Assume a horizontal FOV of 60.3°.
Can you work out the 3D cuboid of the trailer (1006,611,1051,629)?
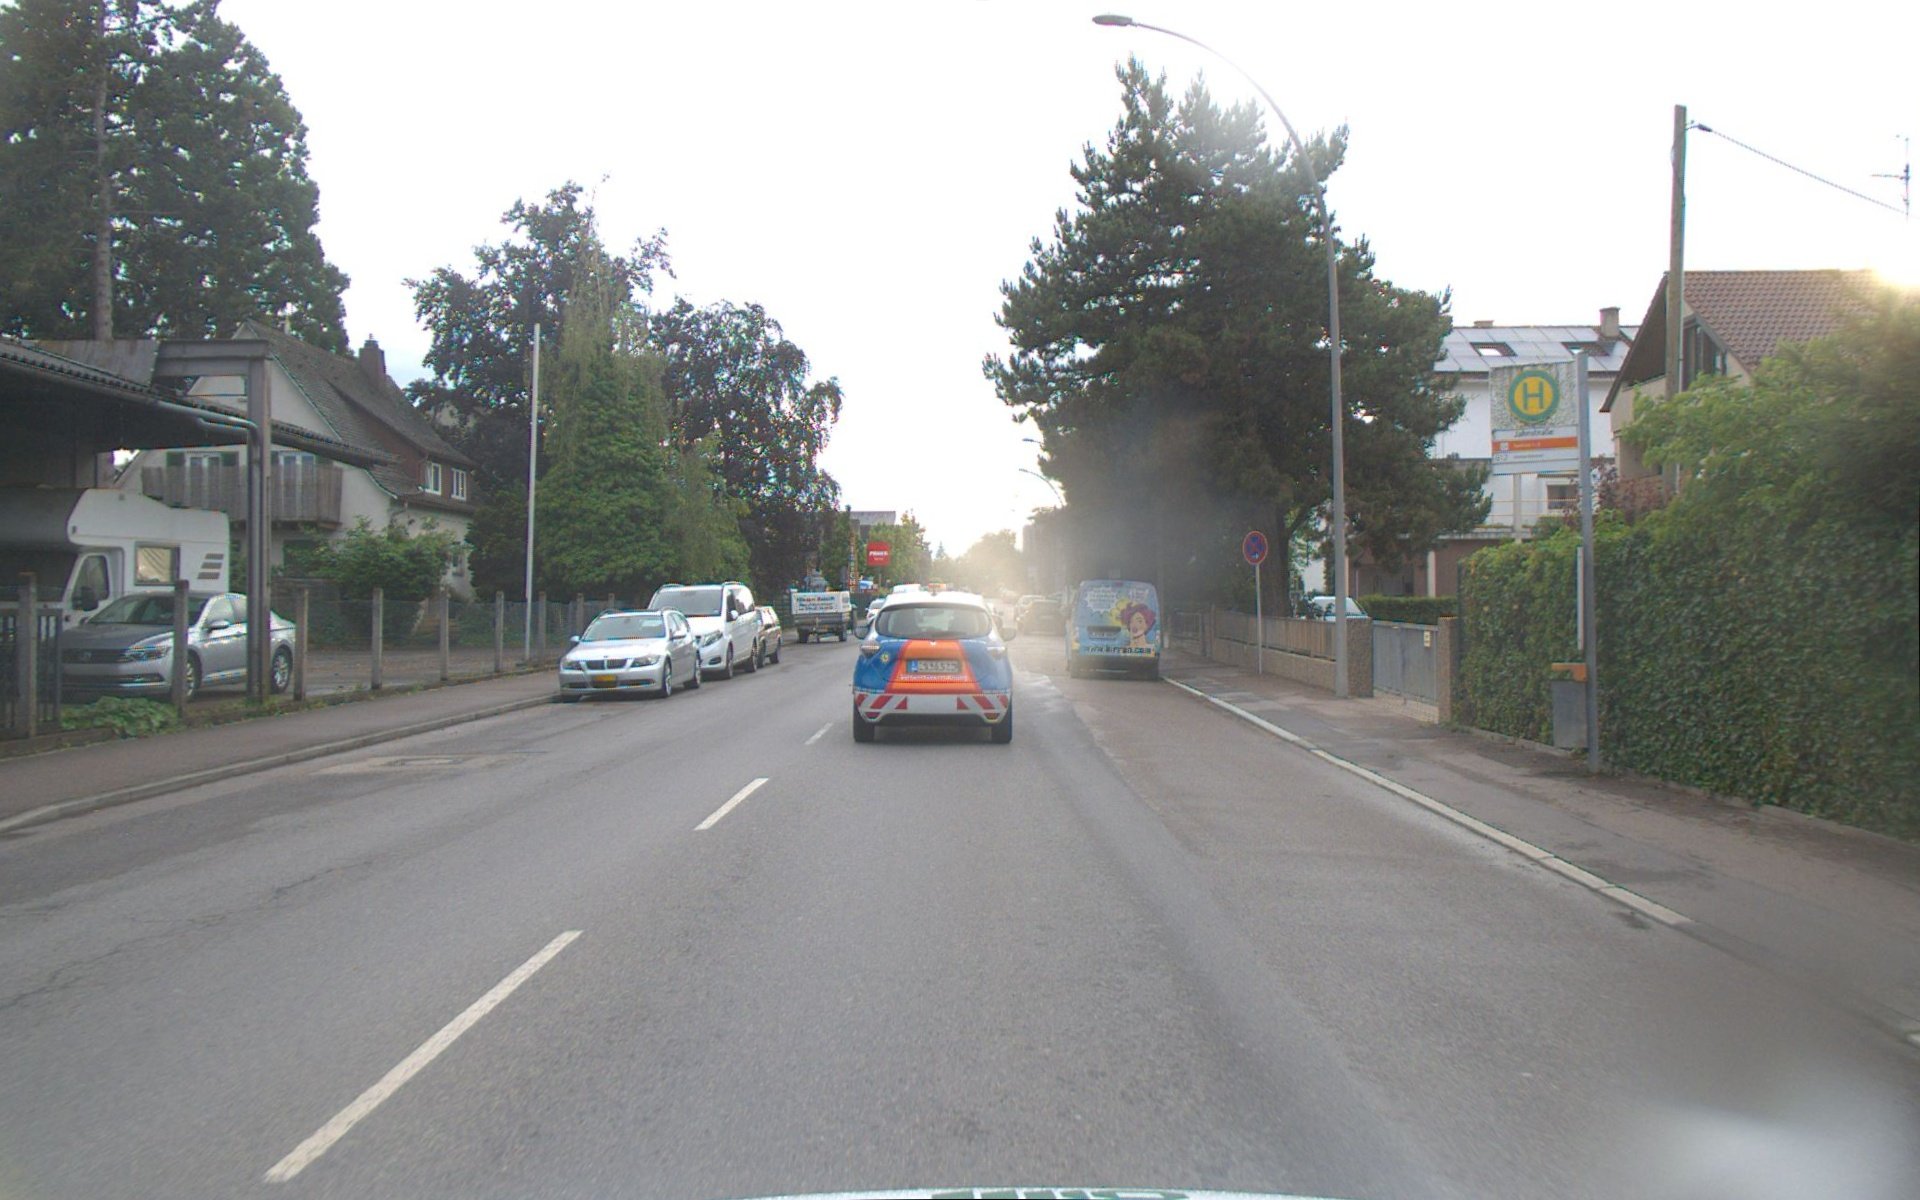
[{"bbox_3d":[3.097,0.911,75.053,1.899,0.767,2.859,0,0,0],"label":"trailer"}]

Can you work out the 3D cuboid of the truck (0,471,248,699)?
[{"bbox_3d":[-13.172,-0.174,24.657,2.345,2.978,5.957,2,-1,1],"label":"truck"}]

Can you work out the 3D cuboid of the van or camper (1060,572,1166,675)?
[{"bbox_3d":[2.988,0.435,33.047,1.718,1.916,4.000,0,0,0],"label":"van or camper"}]

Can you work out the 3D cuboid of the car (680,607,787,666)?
[{"bbox_3d":[-5.416,0.854,40.022,1.952,1.311,4.001,0,0,1],"label":"car"}]

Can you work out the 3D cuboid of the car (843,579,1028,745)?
[{"bbox_3d":[-0.288,0.615,18.618,1.850,1.660,3.999,0,0,-1],"label":"car"}]

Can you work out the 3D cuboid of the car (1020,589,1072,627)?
[{"bbox_3d":[3.625,0.345,70.335,1.953,1.563,4.000,0,0,0],"label":"car"}]

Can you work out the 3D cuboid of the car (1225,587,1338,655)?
[{"bbox_3d":[7.815,0.557,40.564,1.953,1.512,3.999,2,-2,0],"label":"car"}]

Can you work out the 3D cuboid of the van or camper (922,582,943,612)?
[{"bbox_3d":[-2.594,-0.263,156.602,1.953,2.823,5.440,0,0,0],"label":"van or camper"}]

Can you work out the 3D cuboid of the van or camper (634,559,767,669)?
[{"bbox_3d":[-5.272,0.356,34.292,1.852,2.049,5.096,2,-2,0],"label":"van or camper"}]

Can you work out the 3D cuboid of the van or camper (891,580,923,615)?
[{"bbox_3d":[-3.761,-0.185,117.489,2.117,2.394,4.333,0,0,0],"label":"van or camper"}]

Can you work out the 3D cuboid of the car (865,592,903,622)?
[{"bbox_3d":[-4.228,0.358,92.540,1.953,1.624,3.999,0,0,-1],"label":"car"}]

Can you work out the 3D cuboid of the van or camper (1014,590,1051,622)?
[{"bbox_3d":[4.145,0.341,95.023,1.953,1.816,4.000,0,0,0],"label":"van or camper"}]

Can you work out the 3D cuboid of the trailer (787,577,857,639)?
[{"bbox_3d":[-5.003,0.328,60.609,2.175,2.049,4.435,2,-2,-1],"label":"trailer"}]

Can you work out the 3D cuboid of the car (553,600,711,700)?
[{"bbox_3d":[-5.439,0.854,27.909,1.706,1.506,4.184,-2,-2,1],"label":"car"}]

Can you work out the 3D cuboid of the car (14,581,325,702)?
[{"bbox_3d":[-10.668,0.548,22.798,1.896,1.469,4.782,1,-1,1],"label":"car"}]
